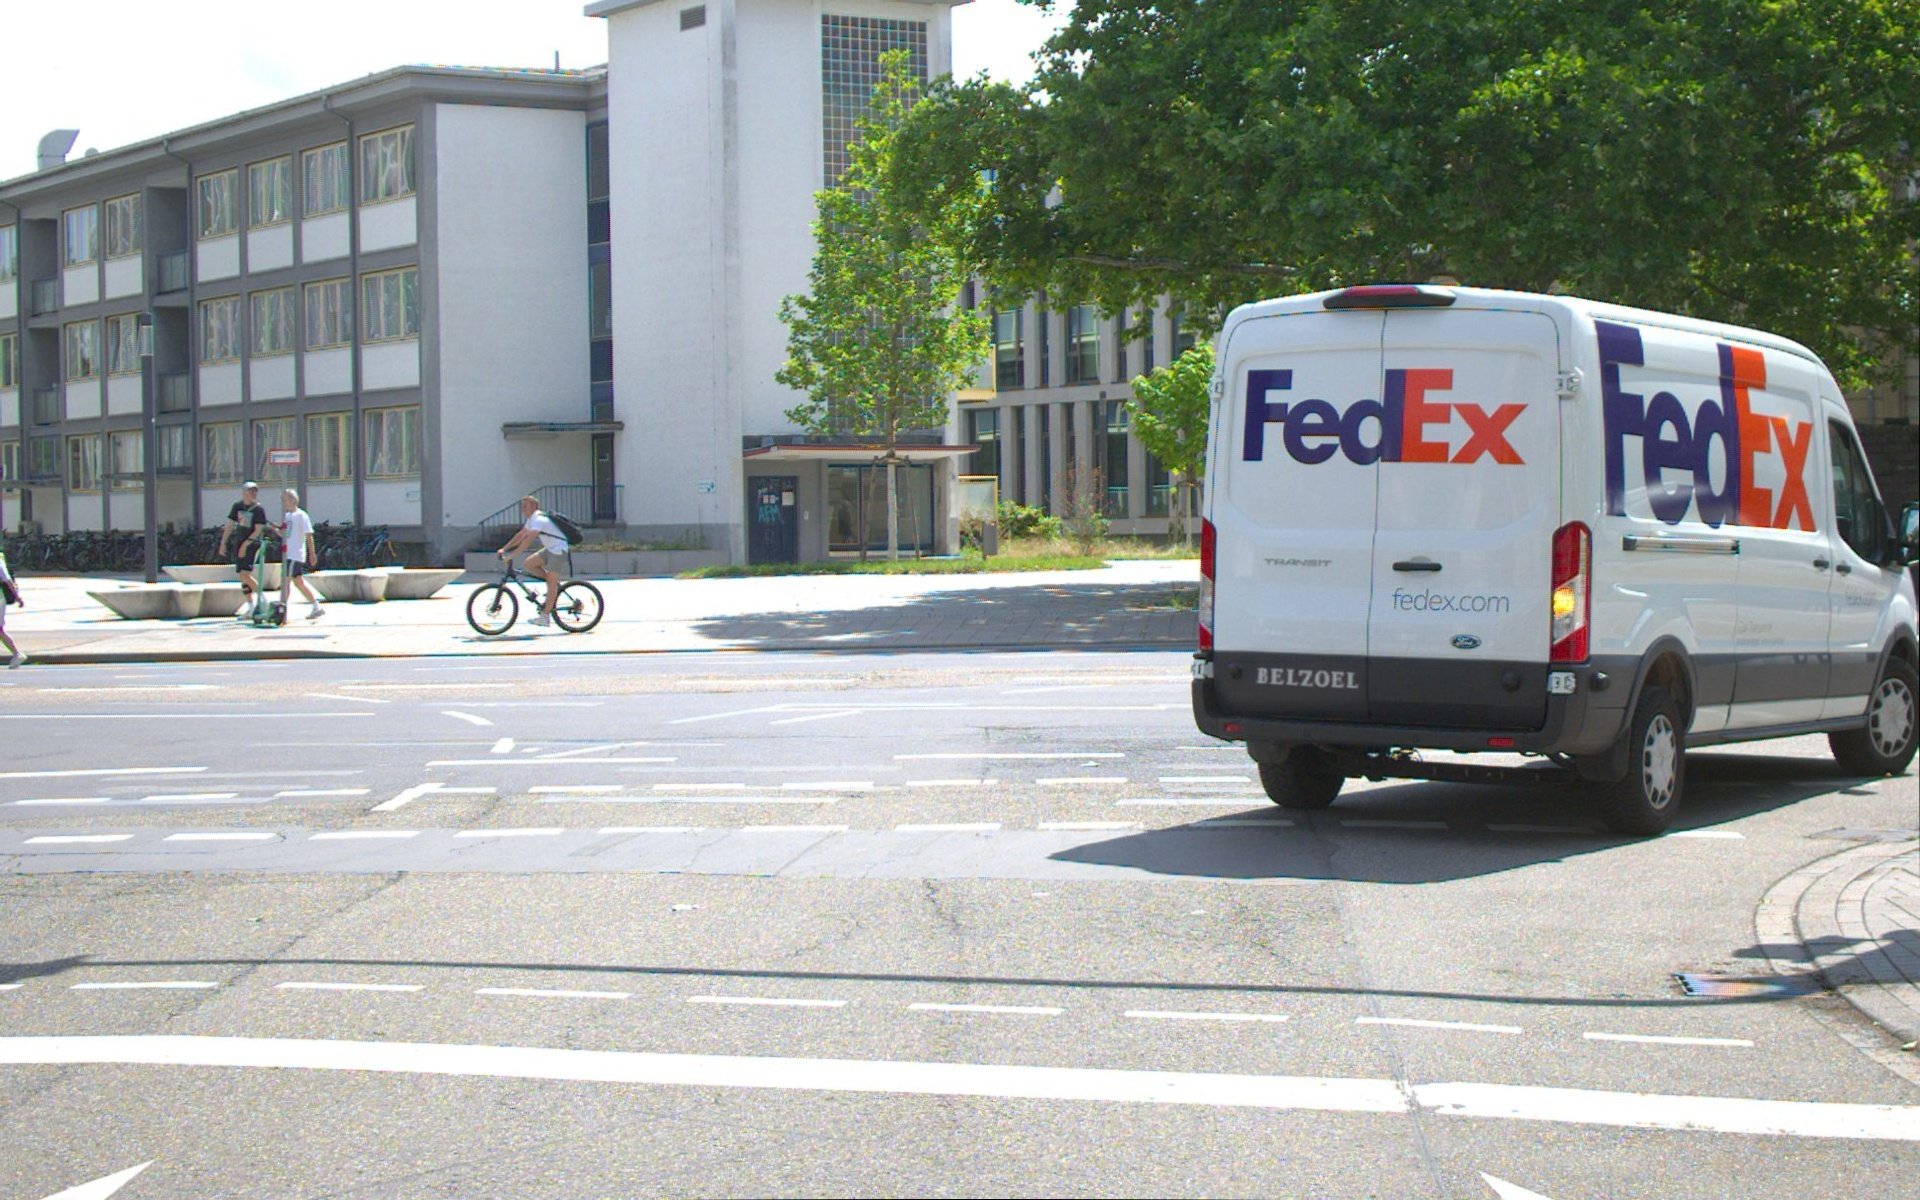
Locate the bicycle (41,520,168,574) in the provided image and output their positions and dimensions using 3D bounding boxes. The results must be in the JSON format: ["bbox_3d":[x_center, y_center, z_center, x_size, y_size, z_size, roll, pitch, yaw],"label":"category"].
[{"bbox_3d":[-21.980,-1.370,88.356,2.956,1.359,1.117,-1,1,-37],"label":"bicycle"}]

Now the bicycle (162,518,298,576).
[{"bbox_3d":[-17.361,-1.280,81.799,2.956,1.359,1.117,-1,1,-37],"label":"bicycle"}]

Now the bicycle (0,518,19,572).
[{"bbox_3d":[-28.635,-1.571,98.600,2.956,1.569,1.117,-1,1,-37],"label":"bicycle"}]

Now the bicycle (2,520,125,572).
[{"bbox_3d":[-23.820,-1.443,91.395,2.956,1.359,1.117,-1,1,-37],"label":"bicycle"}]

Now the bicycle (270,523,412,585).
[{"bbox_3d":[-13.900,-1.049,77.228,2.956,1.359,1.117,-1,1,-37],"label":"bicycle"}]

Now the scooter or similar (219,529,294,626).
[{"bbox_3d":[-9.199,-0.313,44.890,0.716,1.174,2.726,-1,2,-16],"label":"scooter or similar"}]

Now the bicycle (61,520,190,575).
[{"bbox_3d":[-21.081,-1.341,86.865,2.956,1.359,1.117,-1,1,-37],"label":"bicycle"}]

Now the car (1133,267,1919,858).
[{"bbox_3d":[3.194,-0.281,17.774,2.099,2.557,5.592,2,3,32],"label":"car"}]

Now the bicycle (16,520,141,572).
[{"bbox_3d":[-23.117,-1.421,90.209,2.956,1.359,1.117,-1,1,-37],"label":"bicycle"}]

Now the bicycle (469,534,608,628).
[{"bbox_3d":[-5.331,-0.252,43.610,0.848,1.141,1.993,0,2,23],"label":"bicycle"}]

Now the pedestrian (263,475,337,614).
[{"bbox_3d":[-9.048,-0.763,47.120,0.865,1.882,0.913,-1,1,-18],"label":"pedestrian"}]

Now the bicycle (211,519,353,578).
[{"bbox_3d":[-15.689,-1.201,79.606,2.956,1.359,1.275,-1,1,-37],"label":"bicycle"}]

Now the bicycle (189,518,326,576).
[{"bbox_3d":[-16.464,-1.252,80.628,2.956,1.359,1.117,-1,1,-37],"label":"bicycle"}]

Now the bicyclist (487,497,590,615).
[{"bbox_3d":[-5.340,-0.565,43.577,0.850,1.463,1.067,0,2,23],"label":"bicyclist"}]

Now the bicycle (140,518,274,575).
[{"bbox_3d":[-18.152,-1.297,82.863,2.956,1.359,1.117,-1,1,-37],"label":"bicycle"}]

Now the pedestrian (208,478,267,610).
[{"bbox_3d":[-9.974,-0.776,47.435,0.668,1.808,0.816,-1,1,-19],"label":"pedestrian"}]

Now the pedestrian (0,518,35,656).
[{"bbox_3d":[-10.780,-0.149,38.315,0.824,1.518,0.815,-1,1,-19],"label":"pedestrian"}]

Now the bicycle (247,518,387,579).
[{"bbox_3d":[-14.641,-1.176,78.333,2.956,1.359,1.117,-1,1,-37],"label":"bicycle"}]

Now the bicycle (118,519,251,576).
[{"bbox_3d":[-18.921,-1.290,83.924,2.956,1.359,1.117,-1,1,-37],"label":"bicycle"}]

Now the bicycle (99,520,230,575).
[{"bbox_3d":[-19.650,-1.304,84.954,2.956,1.359,1.117,-1,1,-37],"label":"bicycle"}]

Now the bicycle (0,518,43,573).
[{"bbox_3d":[-27.613,-1.546,97.361,2.956,1.569,1.117,-1,1,-37],"label":"bicycle"}]

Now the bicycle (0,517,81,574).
[{"bbox_3d":[-26.075,-1.511,95.551,2.956,1.569,1.117,-1,1,-37],"label":"bicycle"}]
